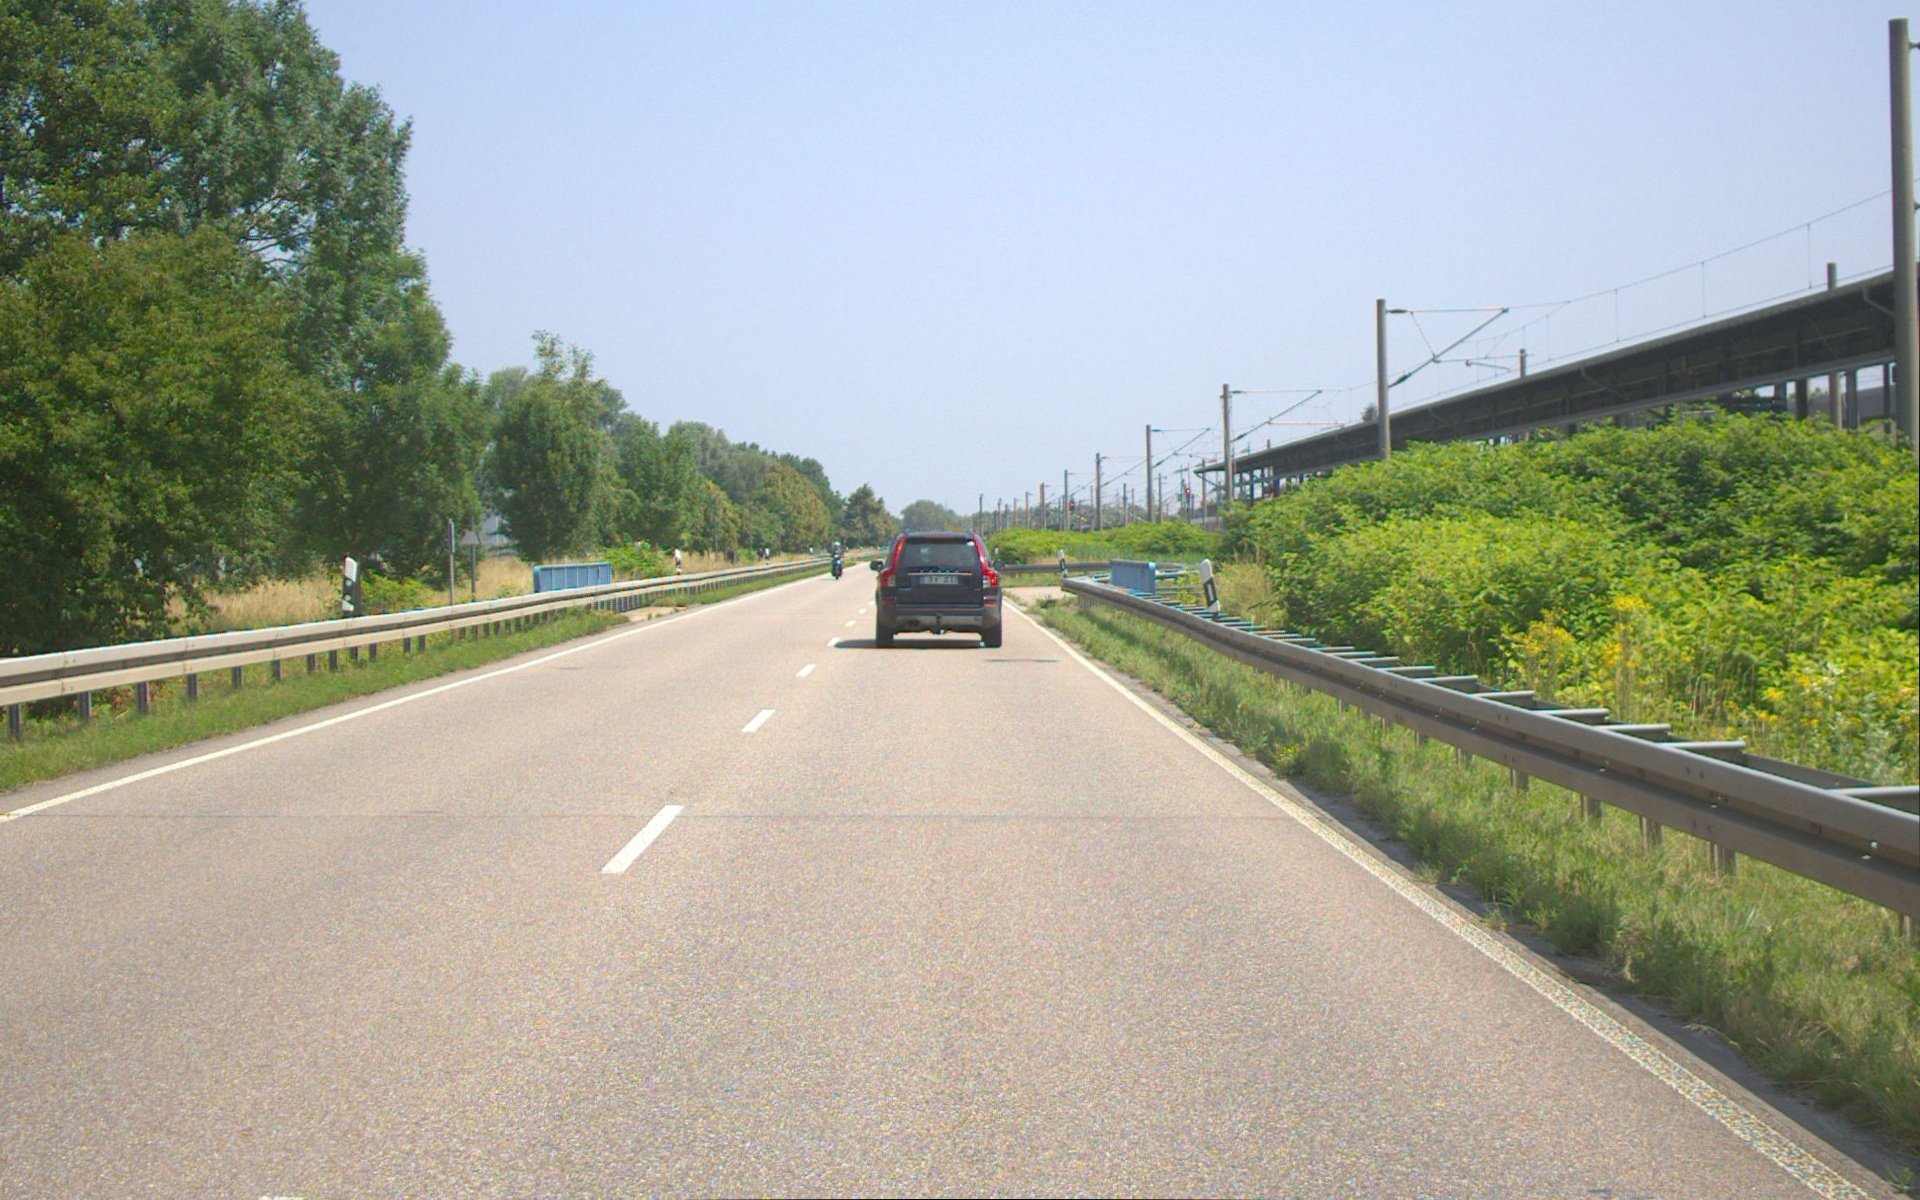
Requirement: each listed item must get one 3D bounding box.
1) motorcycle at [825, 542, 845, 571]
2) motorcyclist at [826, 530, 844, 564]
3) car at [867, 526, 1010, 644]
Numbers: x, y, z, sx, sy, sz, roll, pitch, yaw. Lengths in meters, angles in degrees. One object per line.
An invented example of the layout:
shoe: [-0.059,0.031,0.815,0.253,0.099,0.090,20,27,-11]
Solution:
motorcycle: [-5.483,-1.921,150.995,0.689,1.230,2.369,0,1,2]
motorcyclist: [-5.492,-2.326,151.016,0.726,1.460,0.987,0,1,2]
car: [-0.365,-0.252,51.818,1.993,1.694,4.001,0,1,-3]
